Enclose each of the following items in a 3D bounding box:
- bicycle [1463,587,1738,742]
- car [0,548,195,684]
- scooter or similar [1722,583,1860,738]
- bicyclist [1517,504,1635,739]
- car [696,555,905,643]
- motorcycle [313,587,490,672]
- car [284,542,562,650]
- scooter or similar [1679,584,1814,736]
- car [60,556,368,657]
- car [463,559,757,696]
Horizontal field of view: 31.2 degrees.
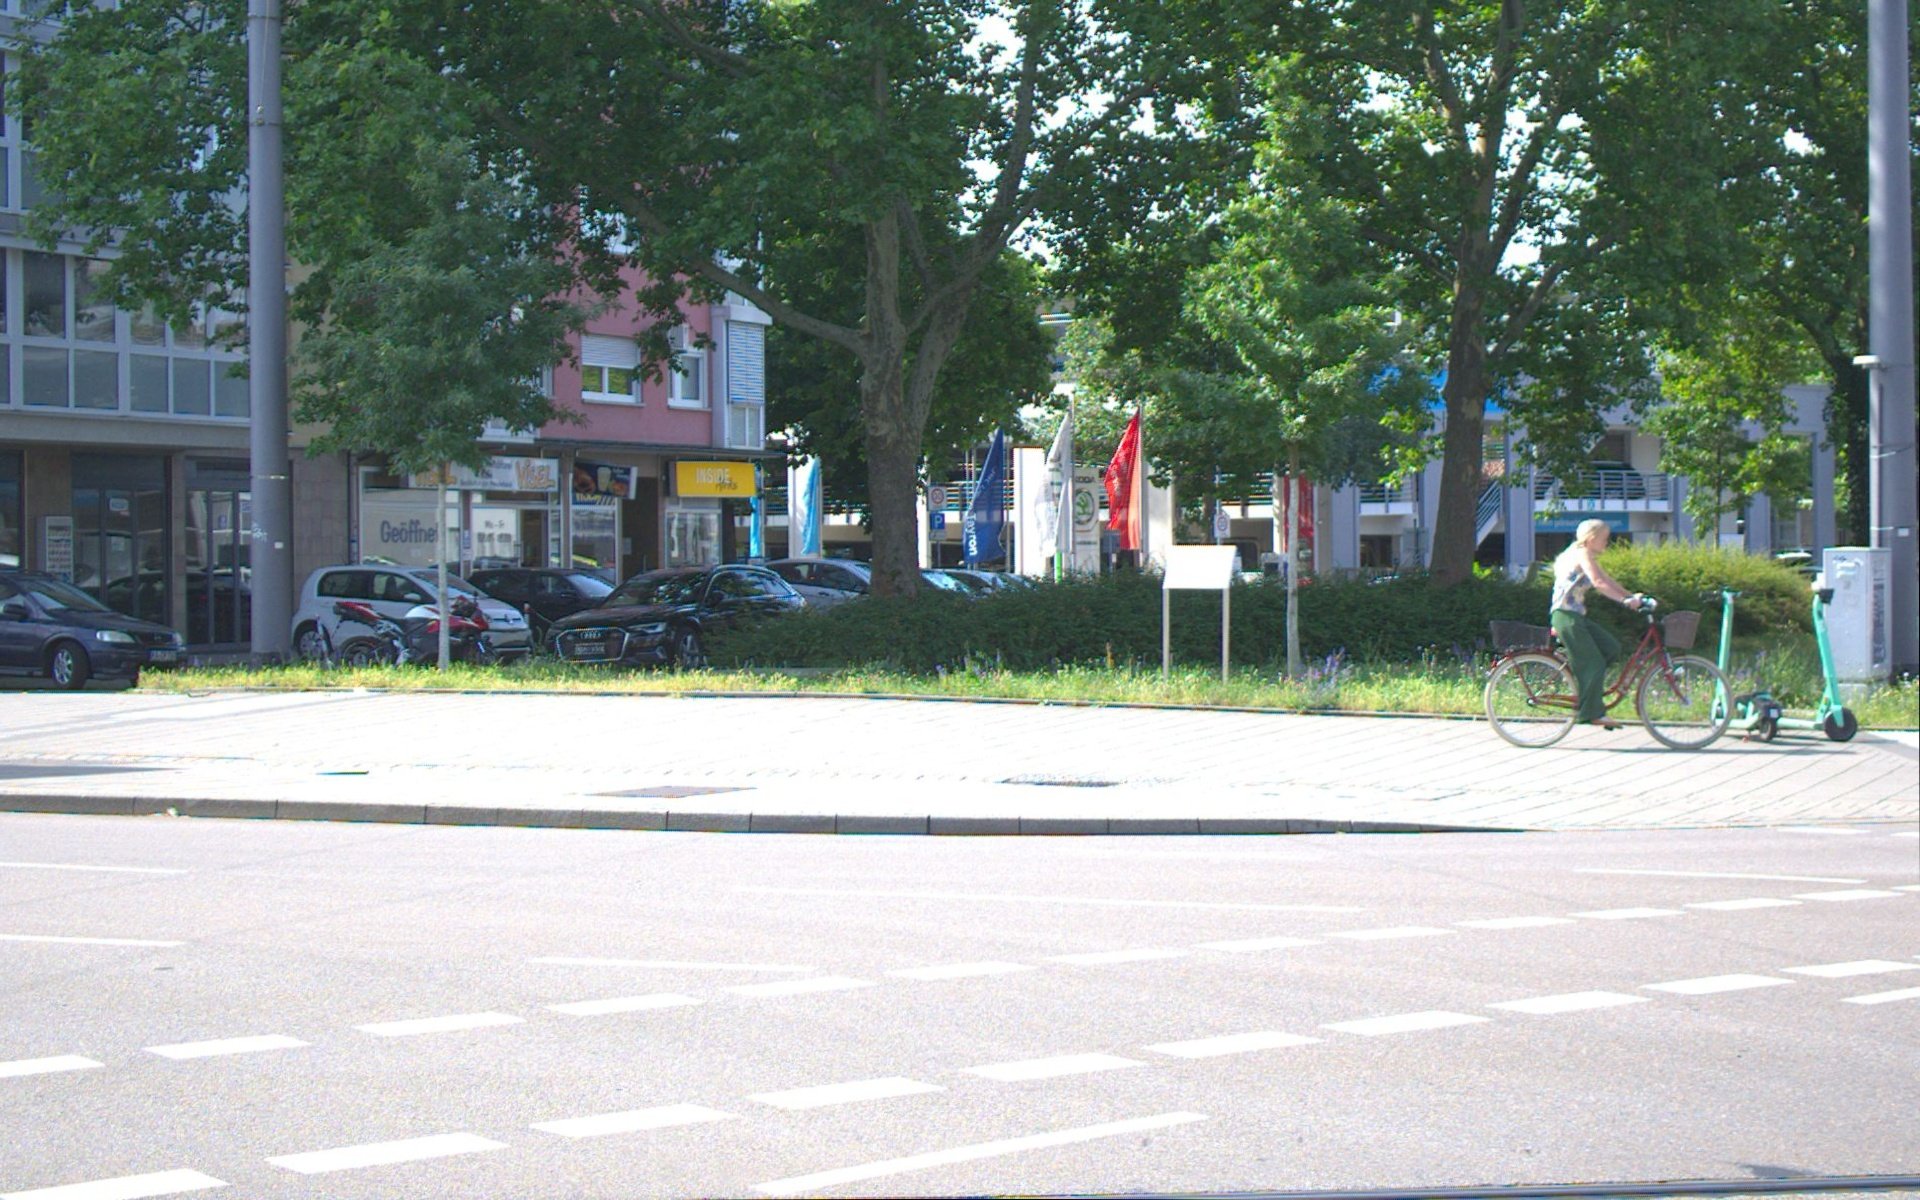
[{"bbox_3d":[4.824,0.482,25.879,1.987,1.124,0.789,-1,0,13],"label":"bicycle"},{"bbox_3d":[-11.759,0.161,41.921,4.383,1.579,1.998,1,1,23],"label":"car"},{"bbox_3d":[6.362,0.460,26.336,0.926,1.153,0.382,0,3,-15],"label":"scooter or similar"},{"bbox_3d":[4.649,0.162,25.916,0.826,1.739,0.711,-1,0,12],"label":"bicyclist"},{"bbox_3d":[-3.045,-0.014,65.519,3.613,1.588,1.663,-1,0,27],"label":"car"},{"bbox_3d":[-6.310,0.328,38.860,1.888,0.899,0.605,-1,2,-19],"label":"motorcycle"},{"bbox_3d":[-8.020,-0.055,51.399,3.567,1.525,1.998,-1,0,23],"label":"car"},{"bbox_3d":[6.151,0.464,26.889,0.926,1.153,0.382,1,3,-3],"label":"scooter or similar"},{"bbox_3d":[-10.364,0.097,47.747,3.992,1.322,1.584,-1,0,23],"label":"car"},{"bbox_3d":[-4.333,0.300,43.118,1.794,1.415,3.995,4,4,26],"label":"car"}]
